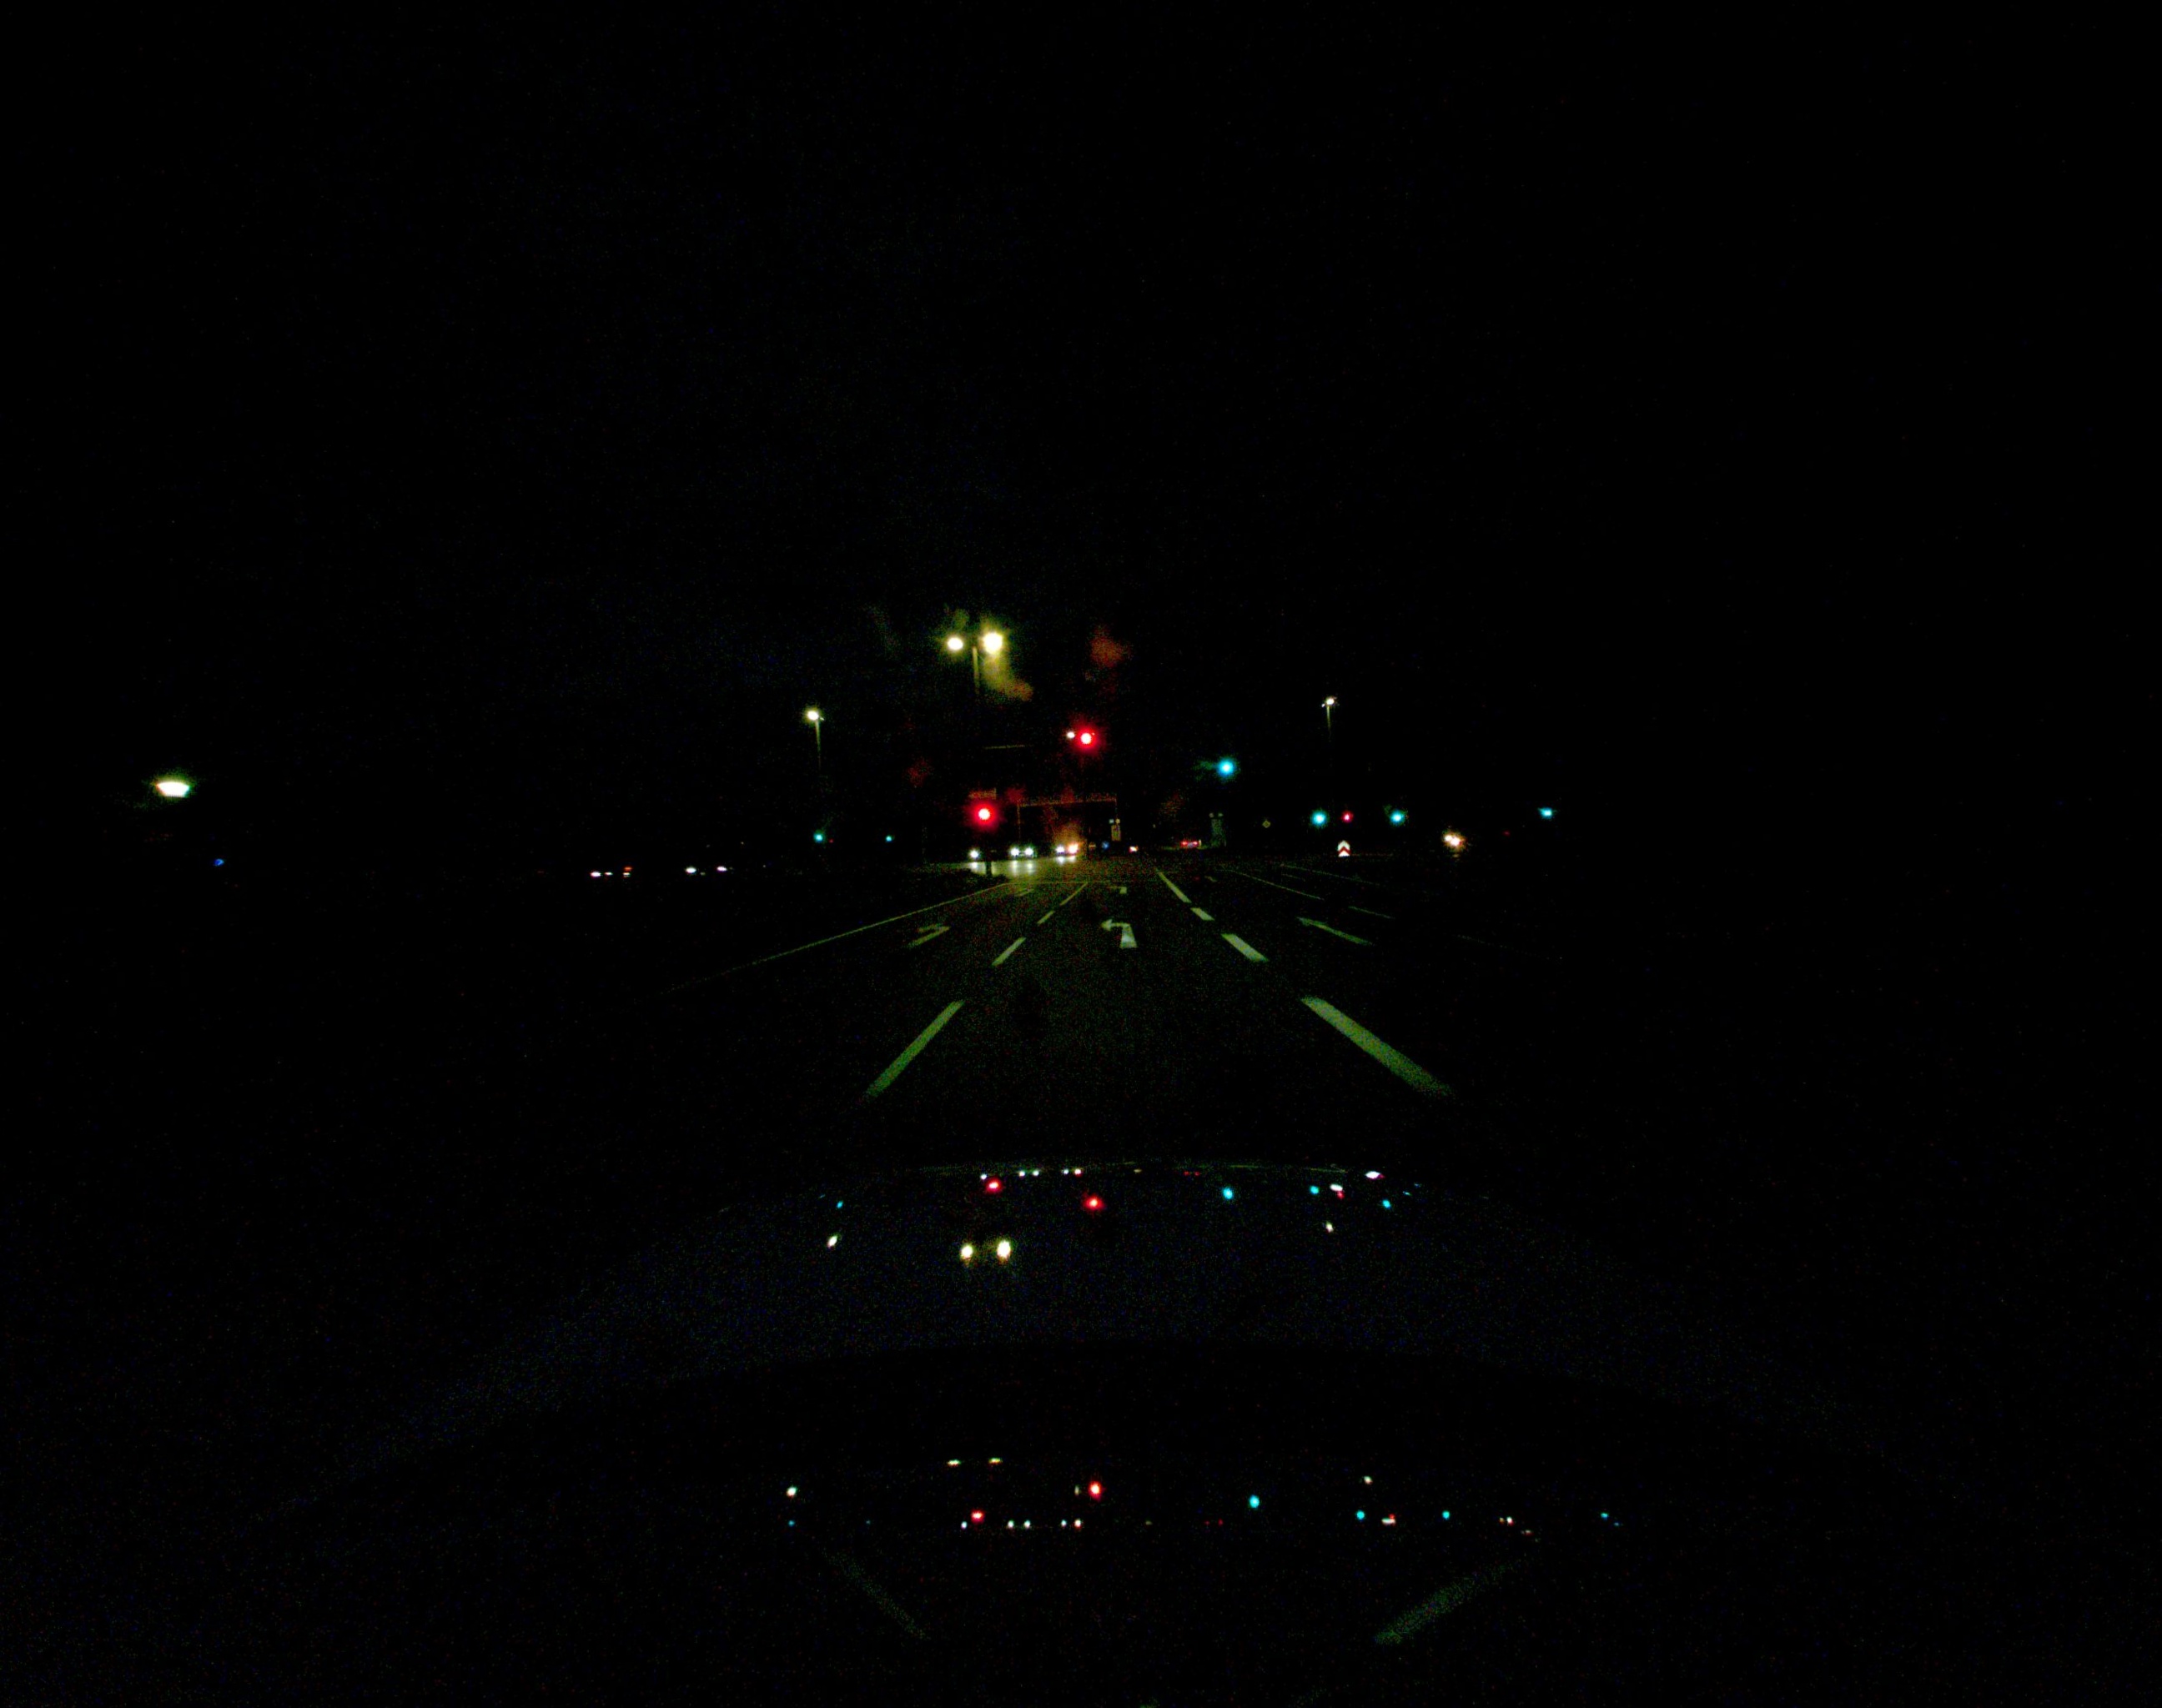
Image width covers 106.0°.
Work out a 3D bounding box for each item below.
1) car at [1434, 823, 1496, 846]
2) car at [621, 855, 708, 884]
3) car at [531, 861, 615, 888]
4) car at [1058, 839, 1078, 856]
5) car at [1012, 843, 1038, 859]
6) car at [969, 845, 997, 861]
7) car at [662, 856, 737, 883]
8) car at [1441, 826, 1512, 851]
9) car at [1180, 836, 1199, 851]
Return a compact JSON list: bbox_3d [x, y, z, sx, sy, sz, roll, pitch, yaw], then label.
[{"bbox_3d":[30.377,-1.530,64.448,3.974,1.569,1.901,-3,1,0],"label":"car"},{"bbox_3d":[-25.296,0.943,49.535,4.296,1.537,1.730,-3,0,2],"label":"car"},{"bbox_3d":[-31.297,1.246,50.248,3.978,1.473,1.728,-3,0,-3],"label":"car"},{"bbox_3d":[-1.425,-0.738,91.470,1.985,1.698,4.003,-2,1,2],"label":"car"},{"bbox_3d":[-5.678,-0.338,82.958,1.985,1.481,4.685,-2,1,3],"label":"car"},{"bbox_3d":[-9.635,-0.085,80.330,1.985,1.425,4.535,-2,1,3],"label":"car"},{"bbox_3d":[-24.785,0.976,53.005,4.027,1.537,1.729,-3,0,0],"label":"car"},{"bbox_3d":[27.832,-1.069,57.426,4.060,1.569,2.002,-2,1,0],"label":"car"},{"bbox_3d":[12.357,-1.196,92.838,1.997,1.610,3.852,-2,1,6],"label":"car"}]
